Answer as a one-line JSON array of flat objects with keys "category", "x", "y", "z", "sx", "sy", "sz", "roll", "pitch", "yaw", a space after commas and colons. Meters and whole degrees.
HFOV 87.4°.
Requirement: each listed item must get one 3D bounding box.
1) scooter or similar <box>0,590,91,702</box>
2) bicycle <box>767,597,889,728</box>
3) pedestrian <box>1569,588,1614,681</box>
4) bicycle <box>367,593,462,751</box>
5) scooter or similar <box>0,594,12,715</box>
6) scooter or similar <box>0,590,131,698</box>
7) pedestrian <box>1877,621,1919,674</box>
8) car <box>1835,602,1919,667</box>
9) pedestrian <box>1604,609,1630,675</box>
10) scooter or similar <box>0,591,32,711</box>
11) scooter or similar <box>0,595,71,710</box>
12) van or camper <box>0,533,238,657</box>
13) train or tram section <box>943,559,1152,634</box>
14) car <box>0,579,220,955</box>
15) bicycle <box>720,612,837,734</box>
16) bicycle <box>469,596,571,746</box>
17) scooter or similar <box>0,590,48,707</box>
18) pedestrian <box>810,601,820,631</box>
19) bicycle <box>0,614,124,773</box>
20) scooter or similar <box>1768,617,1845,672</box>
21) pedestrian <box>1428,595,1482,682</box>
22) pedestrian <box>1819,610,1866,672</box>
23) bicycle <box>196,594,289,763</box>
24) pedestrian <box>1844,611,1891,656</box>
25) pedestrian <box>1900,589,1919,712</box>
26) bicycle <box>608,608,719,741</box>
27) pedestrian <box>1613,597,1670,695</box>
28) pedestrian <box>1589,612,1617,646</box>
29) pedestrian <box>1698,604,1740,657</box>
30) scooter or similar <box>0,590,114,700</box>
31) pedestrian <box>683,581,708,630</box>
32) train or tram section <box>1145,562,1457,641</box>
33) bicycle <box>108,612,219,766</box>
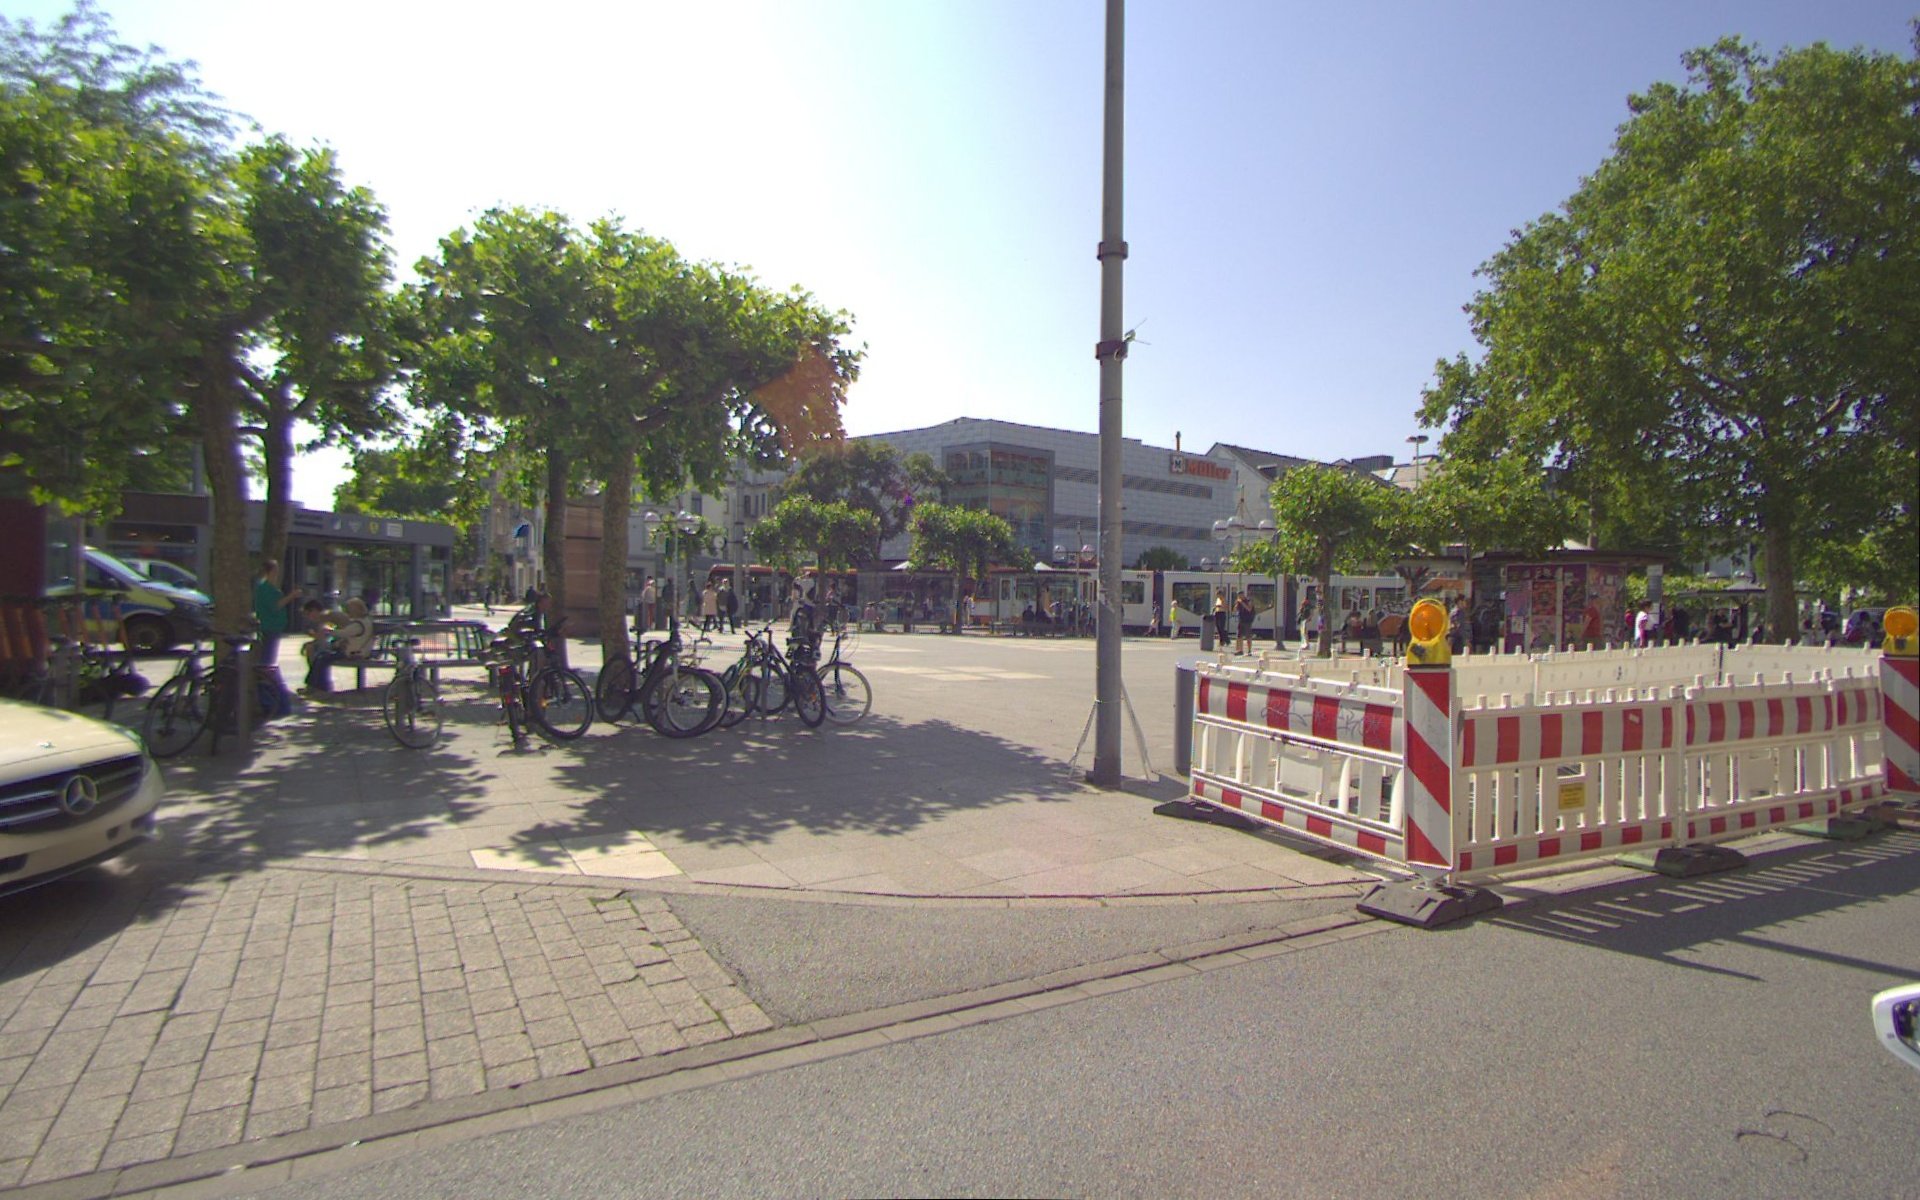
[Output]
[{"category": "scooter or similar", "x": -10.470, "y": 0.507, "z": 11.162, "sx": 1.280, "sy": 1.230, "sz": 0.233, "roll": 1, "pitch": 1, "yaw": -11}, {"category": "bicycle", "x": -1.592, "y": 0.683, "z": 11.856, "sx": 0.733, "sy": 1.366, "sz": 1.771, "roll": 1, "pitch": 2, "yaw": -32}, {"category": "pedestrian", "x": 13.221, "y": 0.707, "z": 21.042, "sx": 0.651, "sy": 1.905, "sz": 0.631, "roll": 3, "pitch": 1, "yaw": 26}, {"category": "bicycle", "x": -5.160, "y": 0.609, "z": 9.450, "sx": 0.656, "sy": 1.326, "sz": 1.771, "roll": 1, "pitch": 1, "yaw": -32}, {"category": "scooter or similar", "x": -10.435, "y": 0.542, "z": 10.170, "sx": 1.280, "sy": 1.230, "sz": 0.233, "roll": 1, "pitch": 1, "yaw": -11}, {"category": "scooter or similar", "x": -10.453, "y": 0.512, "z": 11.672, "sx": 1.280, "sy": 1.230, "sz": 0.264, "roll": 1, "pitch": 1, "yaw": -11}, {"category": "pedestrian", "x": 25.867, "y": 1.307, "z": 27.715, "sx": 0.659, "sy": 1.404, "sz": 0.725, "roll": 1, "pitch": 0, "yaw": -37}, {"category": "car", "x": 30.996, "y": 1.119, "z": 32.185, "sx": 4.674, "sy": 1.981, "sz": 1.862, "roll": 2, "pitch": 0, "yaw": -9}, {"category": "pedestrian", "x": 19.218, "y": 1.220, "z": 29.379, "sx": 0.537, "sy": 1.883, "sz": 0.504, "roll": 1, "pitch": 0, "yaw": 27}, {"category": "scooter or similar", "x": -10.444, "y": 0.518, "z": 10.408, "sx": 1.280, "sy": 1.230, "sz": 0.233, "roll": 1, "pitch": 1, "yaw": -11}, {"category": "scooter or similar", "x": -10.468, "y": 0.565, "z": 10.901, "sx": 1.280, "sy": 1.230, "sz": 0.233, "roll": 1, "pitch": 1, "yaw": -11}, {"category": "van or camper", "x": -15.292, "y": -0.078, "z": 16.878, "sx": 4.970, "sy": 1.944, "sz": 1.862, "roll": 2, "pitch": 0, "yaw": -32}, {"category": "train or tram section", "x": 4.612, "y": -0.208, "z": 53.546, "sx": 10.779, "sy": 3.726, "sz": 2.623, "roll": 1, "pitch": 1, "yaw": 5}, {"category": "car", "x": -6.387, "y": 0.664, "z": 4.429, "sx": 4.767, "sy": 1.562, "sz": 1.896, "roll": 1, "pitch": 1, "yaw": -3}, {"category": "bicycle", "x": -2.062, "y": 0.761, "z": 11.229, "sx": 0.656, "sy": 1.201, "sz": 1.771, "roll": 1, "pitch": 1, "yaw": -32}, {"category": "bicycle", "x": -4.402, "y": 0.642, "z": 9.981, "sx": 0.656, "sy": 1.326, "sz": 1.771, "roll": 1, "pitch": 1, "yaw": -32}, {"category": "scooter or similar", "x": -10.489, "y": 0.502, "z": 10.646, "sx": 1.280, "sy": 1.230, "sz": 0.233, "roll": 1, "pitch": 1, "yaw": -11}, {"category": "pedestrian", "x": -8.235, "y": 0.924, "z": 57.099, "sx": 0.435, "sy": 1.695, "sz": 0.450, "roll": 1, "pitch": 0, "yaw": 5}, {"category": "bicycle", "x": -7.348, "y": 0.697, "z": 8.203, "sx": 0.556, "sy": 1.120, "sz": 1.771, "roll": 1, "pitch": 1, "yaw": -32}, {"category": "scooter or similar", "x": 23.404, "y": 1.213, "z": 27.789, "sx": 1.018, "sy": 1.439, "sz": 1.281, "roll": 1, "pitch": 0, "yaw": 1}, {"category": "pedestrian", "x": 9.048, "y": 0.699, "z": 18.374, "sx": 0.598, "sy": 1.553, "sz": 0.574, "roll": 1, "pitch": 1, "yaw": -24}, {"category": "pedestrian", "x": 23.220, "y": 1.079, "z": 26.448, "sx": 0.653, "sy": 1.586, "sz": 0.633, "roll": 1, "pitch": 0, "yaw": -9}, {"category": "bicycle", "x": -6.297, "y": 0.623, "z": 8.874, "sx": 0.556, "sy": 1.326, "sz": 1.771, "roll": 1, "pitch": 1, "yaw": -32}, {"category": "pedestrian", "x": 23.928, "y": 0.886, "z": 26.487, "sx": 0.653, "sy": 1.159, "sz": 0.633, "roll": 1, "pitch": 0, "yaw": -9}, {"category": "pedestrian", "x": 15.389, "y": 0.807, "z": 15.838, "sx": 0.645, "sy": 1.916, "sz": 0.573, "roll": 1, "pitch": 1, "yaw": -28}, {"category": "bicycle", "x": -3.146, "y": 0.723, "z": 10.544, "sx": 0.656, "sy": 1.231, "sz": 1.771, "roll": 1, "pitch": 1, "yaw": -32}, {"category": "pedestrian", "x": 12.556, "y": 0.837, "z": 18.515, "sx": 0.598, "sy": 1.762, "sz": 0.574, "roll": 1, "pitch": 1, "yaw": -24}, {"category": "pedestrian", "x": 29.115, "y": 1.309, "z": 45.496, "sx": 0.724, "sy": 1.534, "sz": 0.744, "roll": 1, "pitch": 0, "yaw": -16}, {"category": "pedestrian", "x": 22.168, "y": 0.887, "z": 29.359, "sx": 0.717, "sy": 1.498, "sz": 0.633, "roll": 1, "pitch": 0, "yaw": -9}, {"category": "scooter or similar", "x": -10.425, "y": 0.513, "z": 11.415, "sx": 1.280, "sy": 1.230, "sz": 0.233, "roll": 1, "pitch": 1, "yaw": -11}, {"category": "pedestrian", "x": -9.391, "y": 0.203, "z": 35.649, "sx": 0.600, "sy": 1.688, "sz": 0.796, "roll": 1, "pitch": 1, "yaw": -35}, {"category": "train or tram section", "x": 17.544, "y": 0.062, "z": 52.505, "sx": 15.234, "sy": 3.726, "sz": 2.622, "roll": 1, "pitch": 1, "yaw": 4}, {"category": "bicycle", "x": -6.838, "y": 0.706, "z": 8.685, "sx": 0.556, "sy": 1.147, "sz": 1.771, "roll": 1, "pitch": 1, "yaw": -32}]
